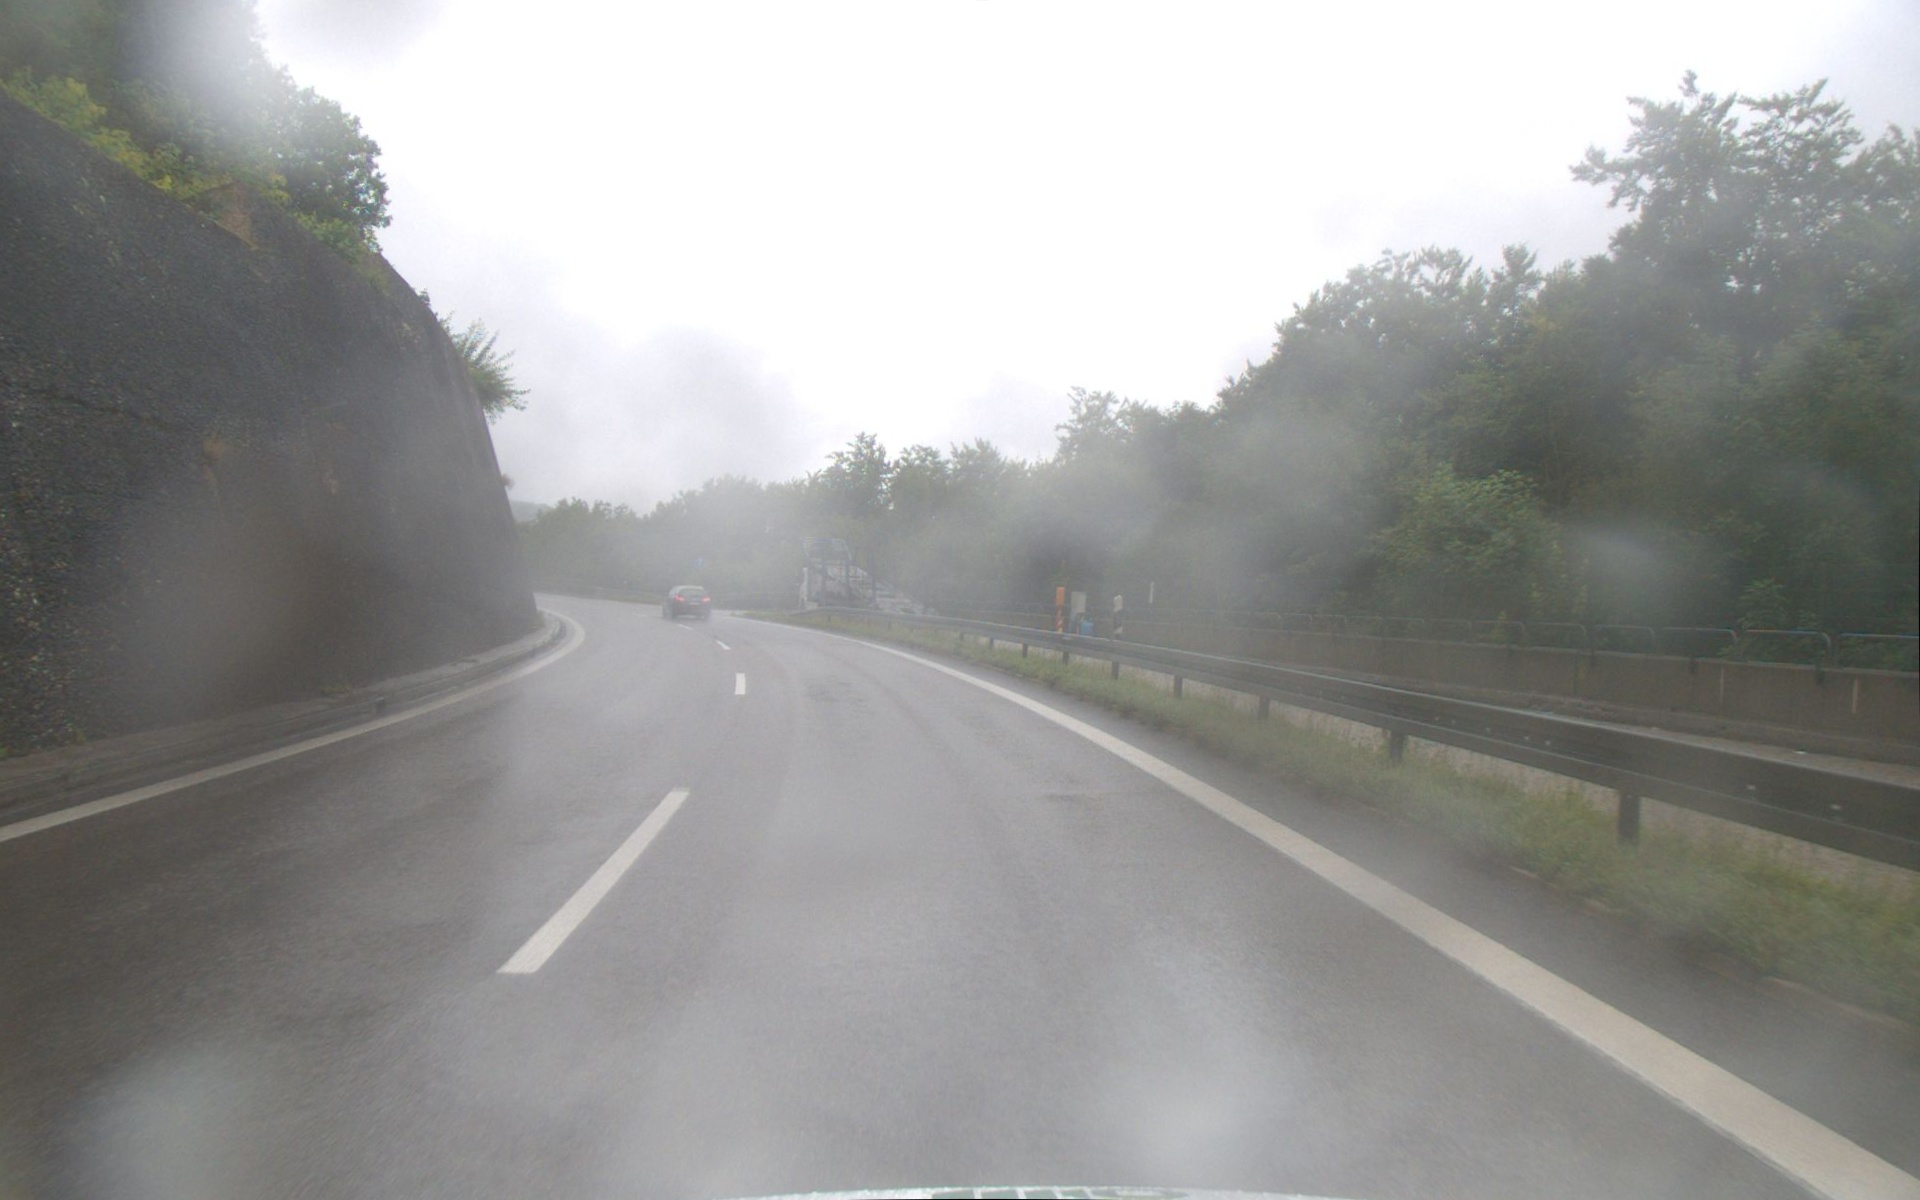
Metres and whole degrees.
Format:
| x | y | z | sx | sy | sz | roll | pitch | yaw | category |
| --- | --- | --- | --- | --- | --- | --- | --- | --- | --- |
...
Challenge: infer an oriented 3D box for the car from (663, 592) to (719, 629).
| x | y | z | sx | sy | sz | roll | pitch | yaw | category |
| --- | --- | --- | --- | --- | --- | --- | --- | --- | --- |
| -12.215 | 0.464 | 74.960 | 1.874 | 1.525 | 3.980 | 3 | 0 | -18 | car |

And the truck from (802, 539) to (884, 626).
| x | y | z | sx | sy | sz | roll | pitch | yaw | category |
| --- | --- | --- | --- | --- | --- | --- | --- | --- | --- |
| -6.192 | -0.898 | 86.505 | 2.849 | 4.319 | 6.851 | 1 | 0 | -16 | truck |

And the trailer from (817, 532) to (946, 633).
| x | y | z | sx | sy | sz | roll | pitch | yaw | category |
| --- | --- | --- | --- | --- | --- | --- | --- | --- | --- |
| -4.014 | -0.805 | 78.756 | 2.845 | 4.319 | 14.633 | 1 | 0 | -16 | trailer |
